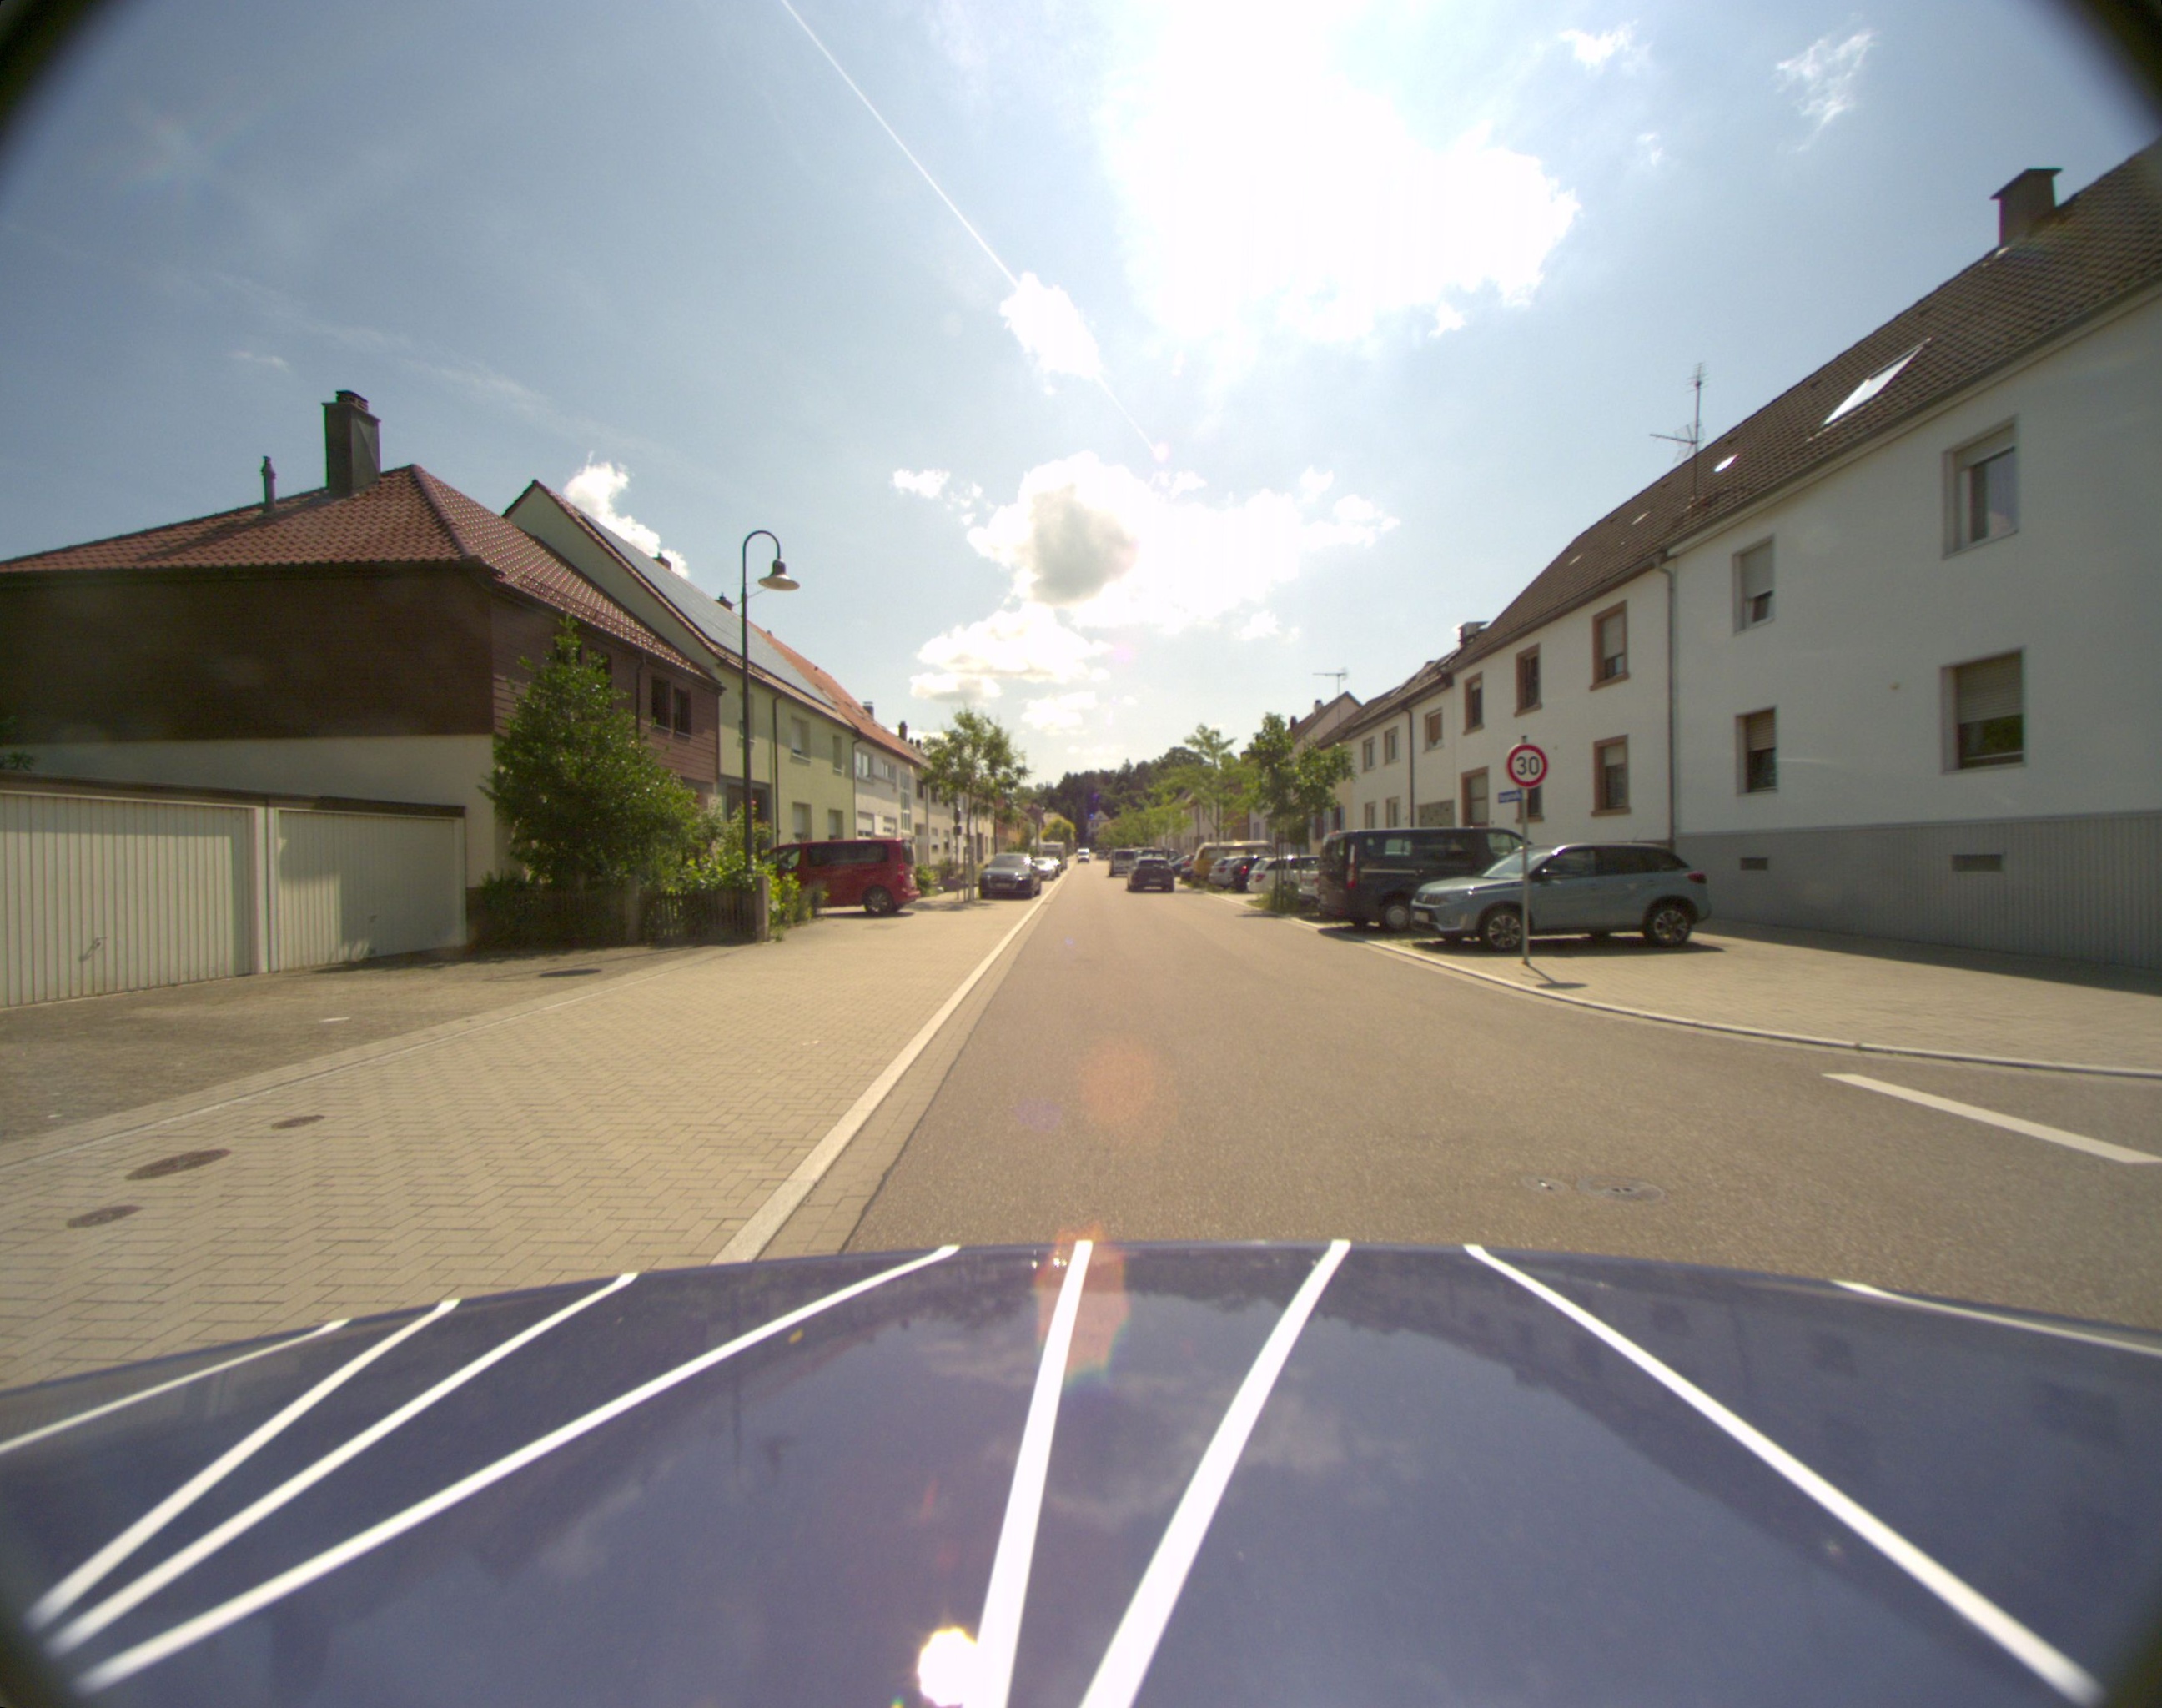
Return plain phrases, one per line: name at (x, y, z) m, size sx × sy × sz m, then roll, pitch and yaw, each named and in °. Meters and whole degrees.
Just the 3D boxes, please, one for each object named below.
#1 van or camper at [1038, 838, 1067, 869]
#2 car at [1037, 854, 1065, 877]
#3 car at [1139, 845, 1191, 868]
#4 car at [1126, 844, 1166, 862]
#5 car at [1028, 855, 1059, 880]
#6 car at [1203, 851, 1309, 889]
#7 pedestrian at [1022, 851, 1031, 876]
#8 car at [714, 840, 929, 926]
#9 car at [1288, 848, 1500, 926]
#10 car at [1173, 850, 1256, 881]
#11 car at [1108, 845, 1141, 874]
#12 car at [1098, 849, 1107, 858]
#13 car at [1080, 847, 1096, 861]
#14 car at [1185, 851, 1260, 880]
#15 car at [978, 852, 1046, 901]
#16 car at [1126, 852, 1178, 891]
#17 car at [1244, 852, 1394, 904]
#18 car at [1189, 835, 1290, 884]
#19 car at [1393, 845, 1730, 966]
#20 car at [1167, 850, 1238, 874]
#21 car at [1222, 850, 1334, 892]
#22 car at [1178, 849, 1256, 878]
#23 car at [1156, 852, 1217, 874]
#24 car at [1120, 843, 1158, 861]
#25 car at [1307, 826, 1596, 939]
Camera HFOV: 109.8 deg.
van or camper at (-2.621, -0.028, 71.324) m, size 2.479 × 2.793 × 5.790 m, roll 0°, pitch 0°, yaw 0°
car at (-2.187, 0.815, 56.132) m, size 1.771 × 1.521 × 4.007 m, roll -1°, pitch 0°, yaw 1°
car at (7.798, 0.220, 70.753) m, size 4.624 × 1.985 × 1.953 m, roll -2°, pitch 1°, yaw 2°
car at (7.871, -0.122, 91.939) m, size 4.688 × 1.896 × 2.000 m, roll -2°, pitch 1°, yaw 1°
car at (-2.392, 0.807, 48.926) m, size 1.837 × 1.457 × 4.518 m, roll -1°, pitch 0°, yaw -1°
car at (7.524, 0.665, 32.836) m, size 4.085 × 1.459 × 1.752 m, roll -2°, pitch 1°, yaw -8°
pedestrian at (-3.915, 0.674, 54.713) m, size 0.558 × 1.739 × 0.673 m, roll 0°, pitch 2°, yaw 1°
car at (-6.377, 0.682, 19.126) m, size 4.631 × 1.883 × 2.020 m, roll -2°, pitch 1°, yaw -1°
car at (7.225, 0.722, 17.785) m, size 4.195 × 1.560 × 1.773 m, roll -2°, pitch 1°, yaw -3°
car at (6.919, 0.599, 39.626) m, size 4.020 × 1.451 × 1.755 m, roll -2°, pitch 1°, yaw 0°
car at (3.077, 0.328, 54.685) m, size 2.028 × 1.939 × 4.897 m, roll -1°, pitch 1°, yaw 0°
car at (5.293, -0.089, 186.232) m, size 1.999 × 1.968 × 3.999 m, roll -1°, pitch 1°, yaw 0°
car at (1.143, -0.007, 130.583) m, size 2.489 × 2.306 × 5.599 m, roll -2°, pitch 1°, yaw 0°
car at (7.870, 0.645, 42.507) m, size 3.801 × 1.451 × 1.755 m, roll -2°, pitch 1°, yaw -2°
car at (-2.482, 0.778, 28.296) m, size 1.868 × 1.626 × 4.447 m, roll 1°, pitch 0°, yaw 3°
car at (2.968, 0.711, 32.501) m, size 1.767 × 1.514 × 4.048 m, roll 1°, pitch 0°, yaw -1°
car at (7.610, 0.745, 24.635) m, size 4.305 × 1.459 × 1.774 m, roll -2°, pitch 1°, yaw 2°
car at (7.710, 0.255, 37.317) m, size 4.520 × 2.165 × 1.925 m, roll -2°, pitch 1°, yaw 0°
car at (7.408, 0.745, 12.019) m, size 4.186 × 1.610 × 1.772 m, roll -2°, pitch 1°, yaw 0°
car at (8.189, 0.547, 51.522) m, size 4.416 × 1.469 × 1.775 m, roll -2°, pitch 1°, yaw -3°
car at (7.711, 0.652, 29.907) m, size 3.891 × 1.459 × 1.657 m, roll -2°, pitch 1°, yaw -8°
car at (8.048, 0.547, 45.232) m, size 4.264 × 1.602 × 1.842 m, roll -2°, pitch 1°, yaw 0°
car at (7.554, 0.634, 54.452) m, size 4.065 × 1.469 × 1.775 m, roll -2°, pitch 1°, yaw -2°
car at (8.206, -0.328, 108.275) m, size 5.180 × 2.275 × 2.157 m, roll -2°, pitch 1°, yaw -2°
car at (7.137, 0.518, 15.010) m, size 4.712 × 1.912 × 1.937 m, roll -2°, pitch 1°, yaw 0°
